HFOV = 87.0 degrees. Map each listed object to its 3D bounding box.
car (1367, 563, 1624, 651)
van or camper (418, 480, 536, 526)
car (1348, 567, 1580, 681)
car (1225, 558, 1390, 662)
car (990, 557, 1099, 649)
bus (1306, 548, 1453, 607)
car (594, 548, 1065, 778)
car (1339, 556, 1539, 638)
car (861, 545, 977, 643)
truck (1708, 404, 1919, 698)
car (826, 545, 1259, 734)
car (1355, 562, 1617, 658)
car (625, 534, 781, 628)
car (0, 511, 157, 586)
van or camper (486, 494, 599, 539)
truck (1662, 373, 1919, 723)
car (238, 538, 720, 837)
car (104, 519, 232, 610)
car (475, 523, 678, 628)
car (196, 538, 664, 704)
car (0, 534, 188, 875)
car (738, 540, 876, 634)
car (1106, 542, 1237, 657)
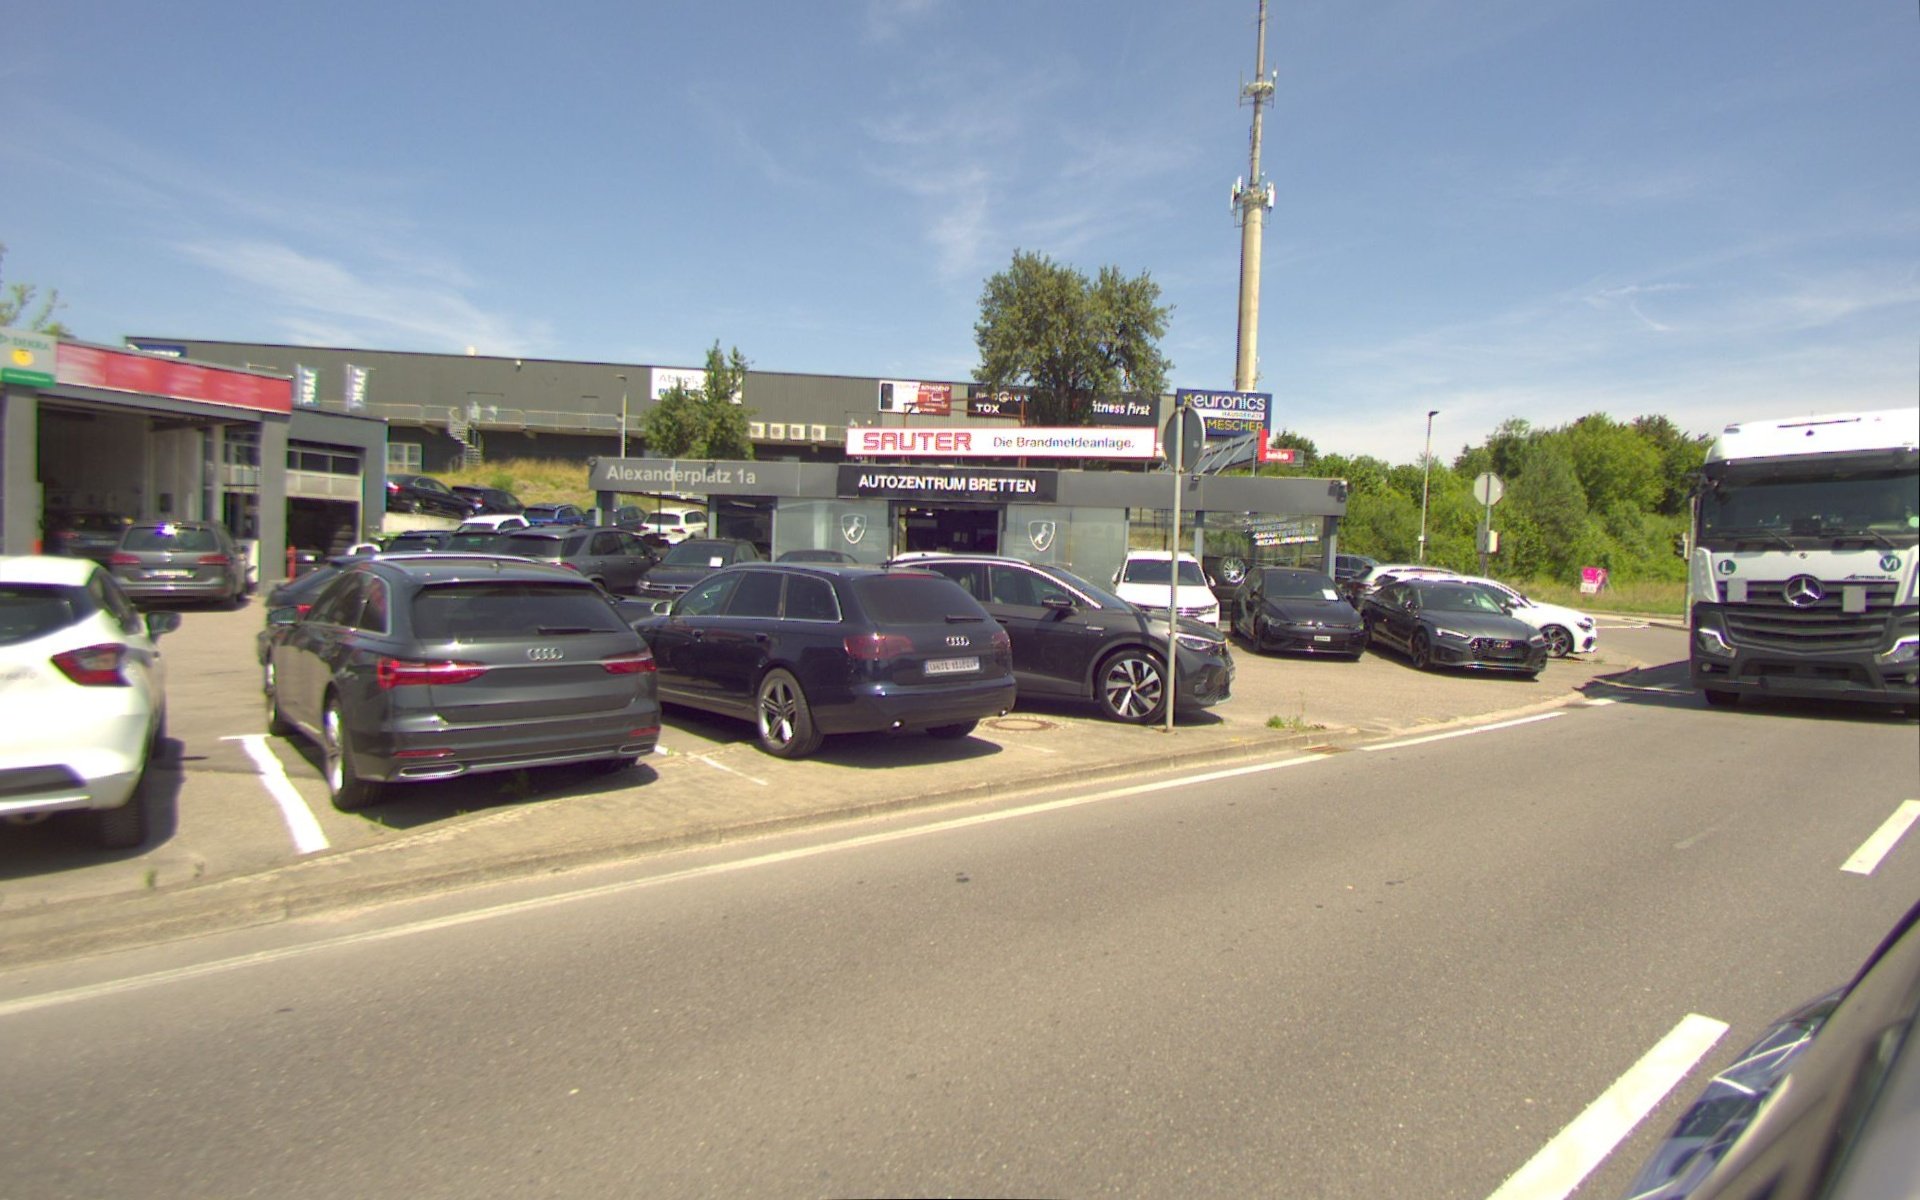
[{"bbox_3d":[12.043,0.098,23.097,4.664,1.571,1.995,4,3,10],"label":"car"},{"bbox_3d":[-17.468,-3.472,36.799,1.829,1.374,3.986,0,1,12],"label":"van or camper"},{"bbox_3d":[8.580,0.276,17.831,1.894,1.403,4.933,2,5,5],"label":"car"},{"bbox_3d":[6.191,0.074,18.553,1.822,1.436,4.165,2,5,5],"label":"car"},{"bbox_3d":[1.624,-0.037,19.481,1.822,1.326,4.147,3,5,5],"label":"car"},{"bbox_3d":[15.176,-0.893,36.701,4.486,1.669,1.917,8,7,39],"label":"bus"},{"bbox_3d":[-1.368,0.356,8.983,2.046,1.518,4.332,0,2,-42],"label":"car"},{"bbox_3d":[11.992,-0.124,25.614,4.111,1.712,1.878,4,3,12],"label":"car"},{"bbox_3d":[-0.676,-0.218,19.351,1.702,1.501,3.939,2,5,5],"label":"car"},{"bbox_3d":[17.726,-0.780,19.354,13.888,4.058,2.977,-1,4,-44],"label":"truck"},{"bbox_3d":[0.923,0.289,11.085,4.291,1.644,2.047,3,2,23],"label":"car"},{"bbox_3d":[10.630,0.131,20.848,4.419,1.426,1.737,6,4,18],"label":"car"},{"bbox_3d":[-5.104,-0.483,20.699,1.822,1.586,4.147,2,5,5],"label":"car"},{"bbox_3d":[-20.917,-1.201,23.807,3.967,1.638,1.894,2,2,31],"label":"car"},{"bbox_3d":[-14.846,-2.944,36.245,1.829,1.374,3.986,0,1,12],"label":"van or camper"},{"bbox_3d":[12.758,-0.691,14.574,6.222,4.058,2.977,0,4,-44],"label":"truck"},{"bbox_3d":[-3.754,0.383,7.441,2.046,1.518,4.332,0,2,-42],"label":"car"},{"bbox_3d":[-15.387,-0.693,19.822,1.645,1.600,3.602,0,2,-33],"label":"car"},{"bbox_3d":[-7.554,-0.613,20.397,1.938,1.809,4.138,3,5,11],"label":"car"},{"bbox_3d":[-5.701,0.159,11.306,4.293,1.546,1.818,0,3,-29],"label":"car"},{"bbox_3d":[-5.654,0.416,5.832,1.819,1.518,3.821,0,1,-36],"label":"car"},{"bbox_3d":[-2.945,-0.360,20.347,1.822,1.515,4.147,2,5,5],"label":"car"},{"bbox_3d":[3.799,-0.128,18.901,1.822,1.734,4.147,2,5,5],"label":"car"}]
